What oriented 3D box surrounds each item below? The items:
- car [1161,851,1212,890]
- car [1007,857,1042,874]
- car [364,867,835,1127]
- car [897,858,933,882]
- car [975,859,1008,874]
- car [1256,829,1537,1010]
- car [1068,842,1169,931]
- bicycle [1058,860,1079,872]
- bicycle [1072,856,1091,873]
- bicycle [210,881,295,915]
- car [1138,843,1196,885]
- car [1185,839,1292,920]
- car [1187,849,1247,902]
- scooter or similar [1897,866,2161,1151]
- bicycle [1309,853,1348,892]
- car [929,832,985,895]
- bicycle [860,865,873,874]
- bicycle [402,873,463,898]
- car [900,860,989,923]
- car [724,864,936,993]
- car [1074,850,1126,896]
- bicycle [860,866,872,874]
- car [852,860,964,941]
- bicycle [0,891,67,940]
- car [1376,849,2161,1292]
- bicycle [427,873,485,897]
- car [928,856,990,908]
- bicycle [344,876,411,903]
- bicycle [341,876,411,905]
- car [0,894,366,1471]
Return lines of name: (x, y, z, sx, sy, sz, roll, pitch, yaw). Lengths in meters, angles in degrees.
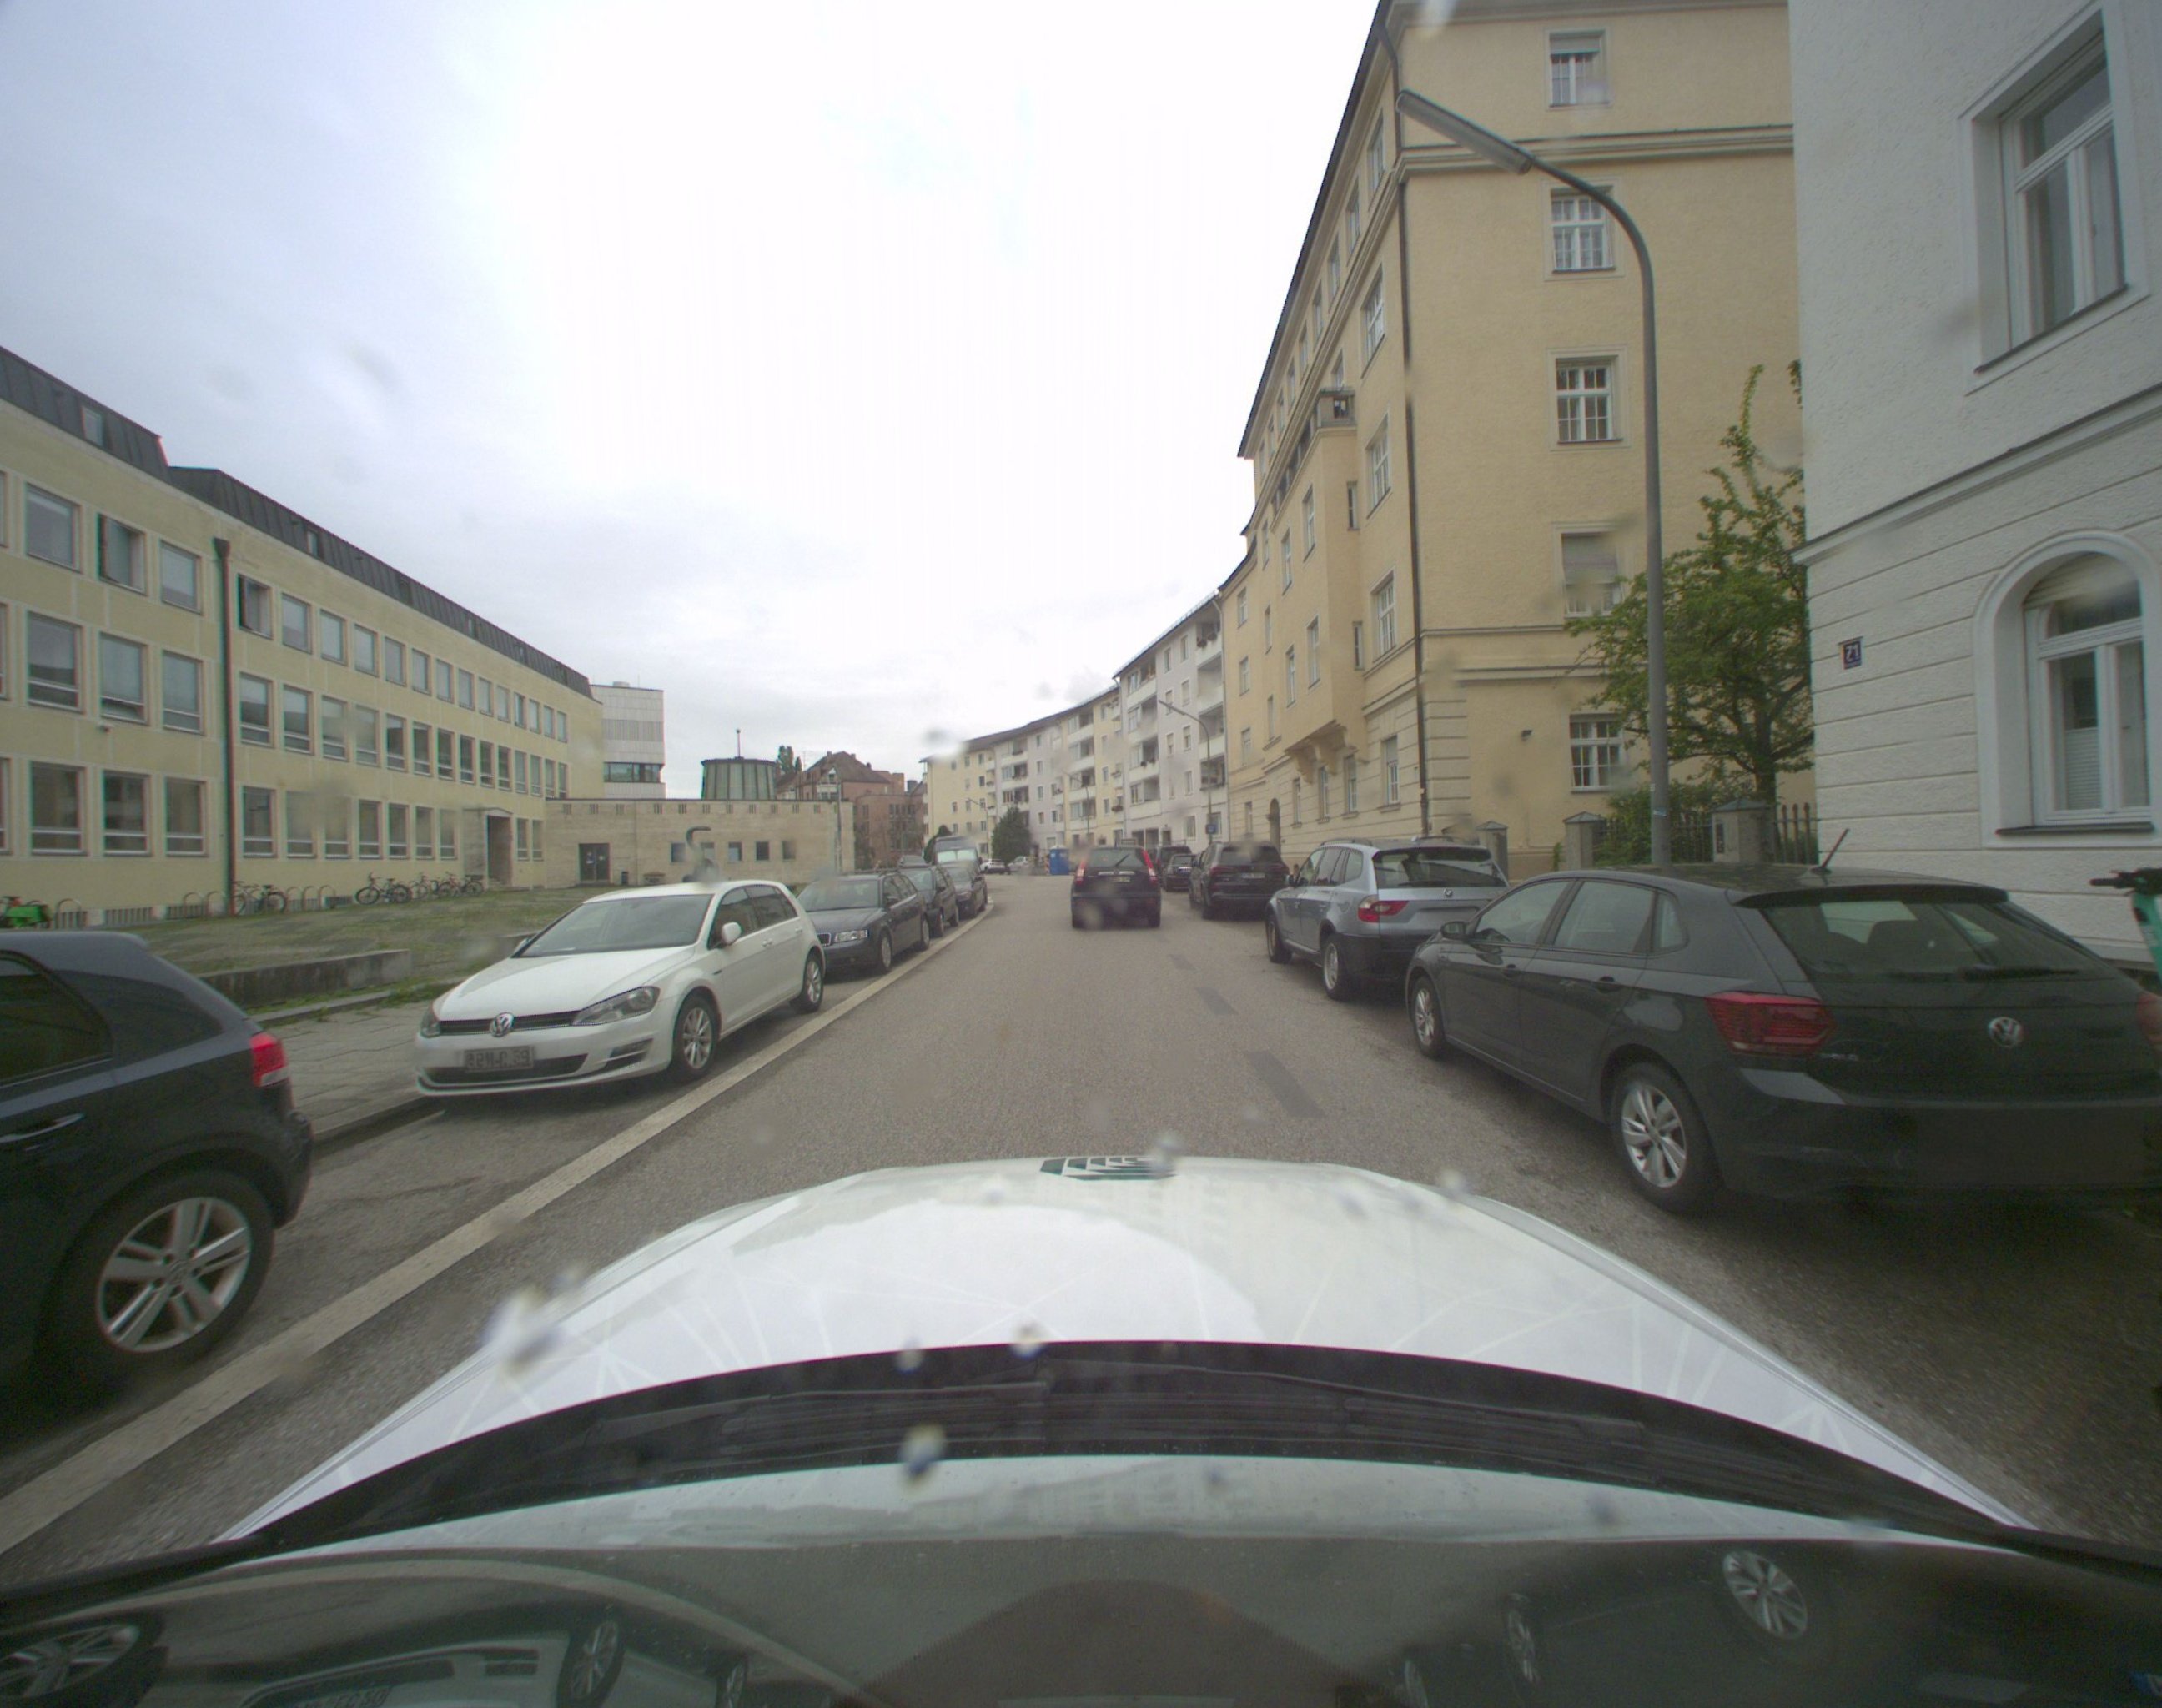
car: (4.085, 0.626, 31.875, 1.701, 1.447, 3.833, 0, 0, 3)
car: (-5.137, 0.995, 73.689, 1.733, 1.483, 3.966, -1, 0, -26)
car: (-3.607, 0.921, 7.104, 1.652, 1.453, 4.071, -3, 0, -1)
car: (-12.393, 1.170, 60.607, 1.687, 1.707, 4.476, -1, 0, -25)
car: (-9.093, 1.220, 82.678, 1.736, 1.483, 3.960, -1, 0, -32)
car: (3.388, 0.615, 9.744, 1.716, 1.634, 4.459, -1, 0, 1)
car: (0.688, 0.628, 17.594, 1.886, 1.647, 3.989, -1, 0, -1)
bicycle: (-1.196, 1.131, 76.501, 1.872, 1.091, 0.562, -1, -1, -20)
bicycle: (0.042, 0.919, 68.769, 0.970, 1.388, 2.552, -1, 0, -14)
bicycle: (-26.386, 1.399, 25.963, 1.943, 1.014, 0.624, -1, 0, -5)
car: (3.818, 0.438, 36.893, 1.775, 1.807, 4.266, 0, 0, -6)
car: (3.670, 0.558, 19.859, 1.861, 1.717, 4.868, 0, 0, 2)
car: (4.167, 0.633, 25.328, 1.528, 1.524, 3.113, 0, 0, 3)
scooter or similar: (4.683, 0.644, 3.829, 0.483, 1.164, 1.172, -1, -1, 0)
bicycle: (7.405, 0.538, 24.457, 0.577, 1.083, 1.954, -4, 0, 2)
car: (-5.931, 0.403, 38.399, 2.166, 2.641, 5.992, -3, 0, -12)
bicycle: (-33.574, 2.446, 127.542, 1.764, 1.288, 0.548, -1, -1, -29)
bicycle: (-28.107, 1.371, 35.310, 1.949, 1.014, 0.623, -1, 0, -13)
car: (-3.591, 0.930, 22.199, 1.795, 1.406, 4.451, -3, 0, -3)
car: (-3.501, 0.947, 12.302, 1.749, 1.453, 4.395, -3, 0, 0)
car: (0.633, 0.631, 28.767, 1.674, 1.481, 4.085, -1, 0, 0)
bicycle: (-33.885, 2.482, 128.126, 1.764, 1.288, 0.548, -1, -1, -29)
car: (-3.573, 0.912, 17.363, 1.652, 1.453, 3.311, -3, 0, -1)
bicycle: (-24.253, 1.392, 18.250, 1.948, 1.014, 0.623, -1, 0, -12)
car: (3.258, 0.723, 4.733, 1.673, 1.427, 4.088, -1, 0, 1)
bicycle: (-28.169, 1.377, 36.733, 1.953, 1.014, 0.621, -1, 0, -20)
car: (-3.894, 0.866, 26.416, 1.667, 1.502, 2.973, -3, 0, -4)
bicycle: (-27.801, 1.398, 32.221, 1.946, 1.014, 0.623, -1, 0, -9)
bicycle: (-27.247, 1.393, 31.491, 1.950, 1.014, 0.622, -1, 0, -15)
car: (-3.668, 0.927, 1.218, 1.652, 1.453, 3.972, -3, 0, -1)
